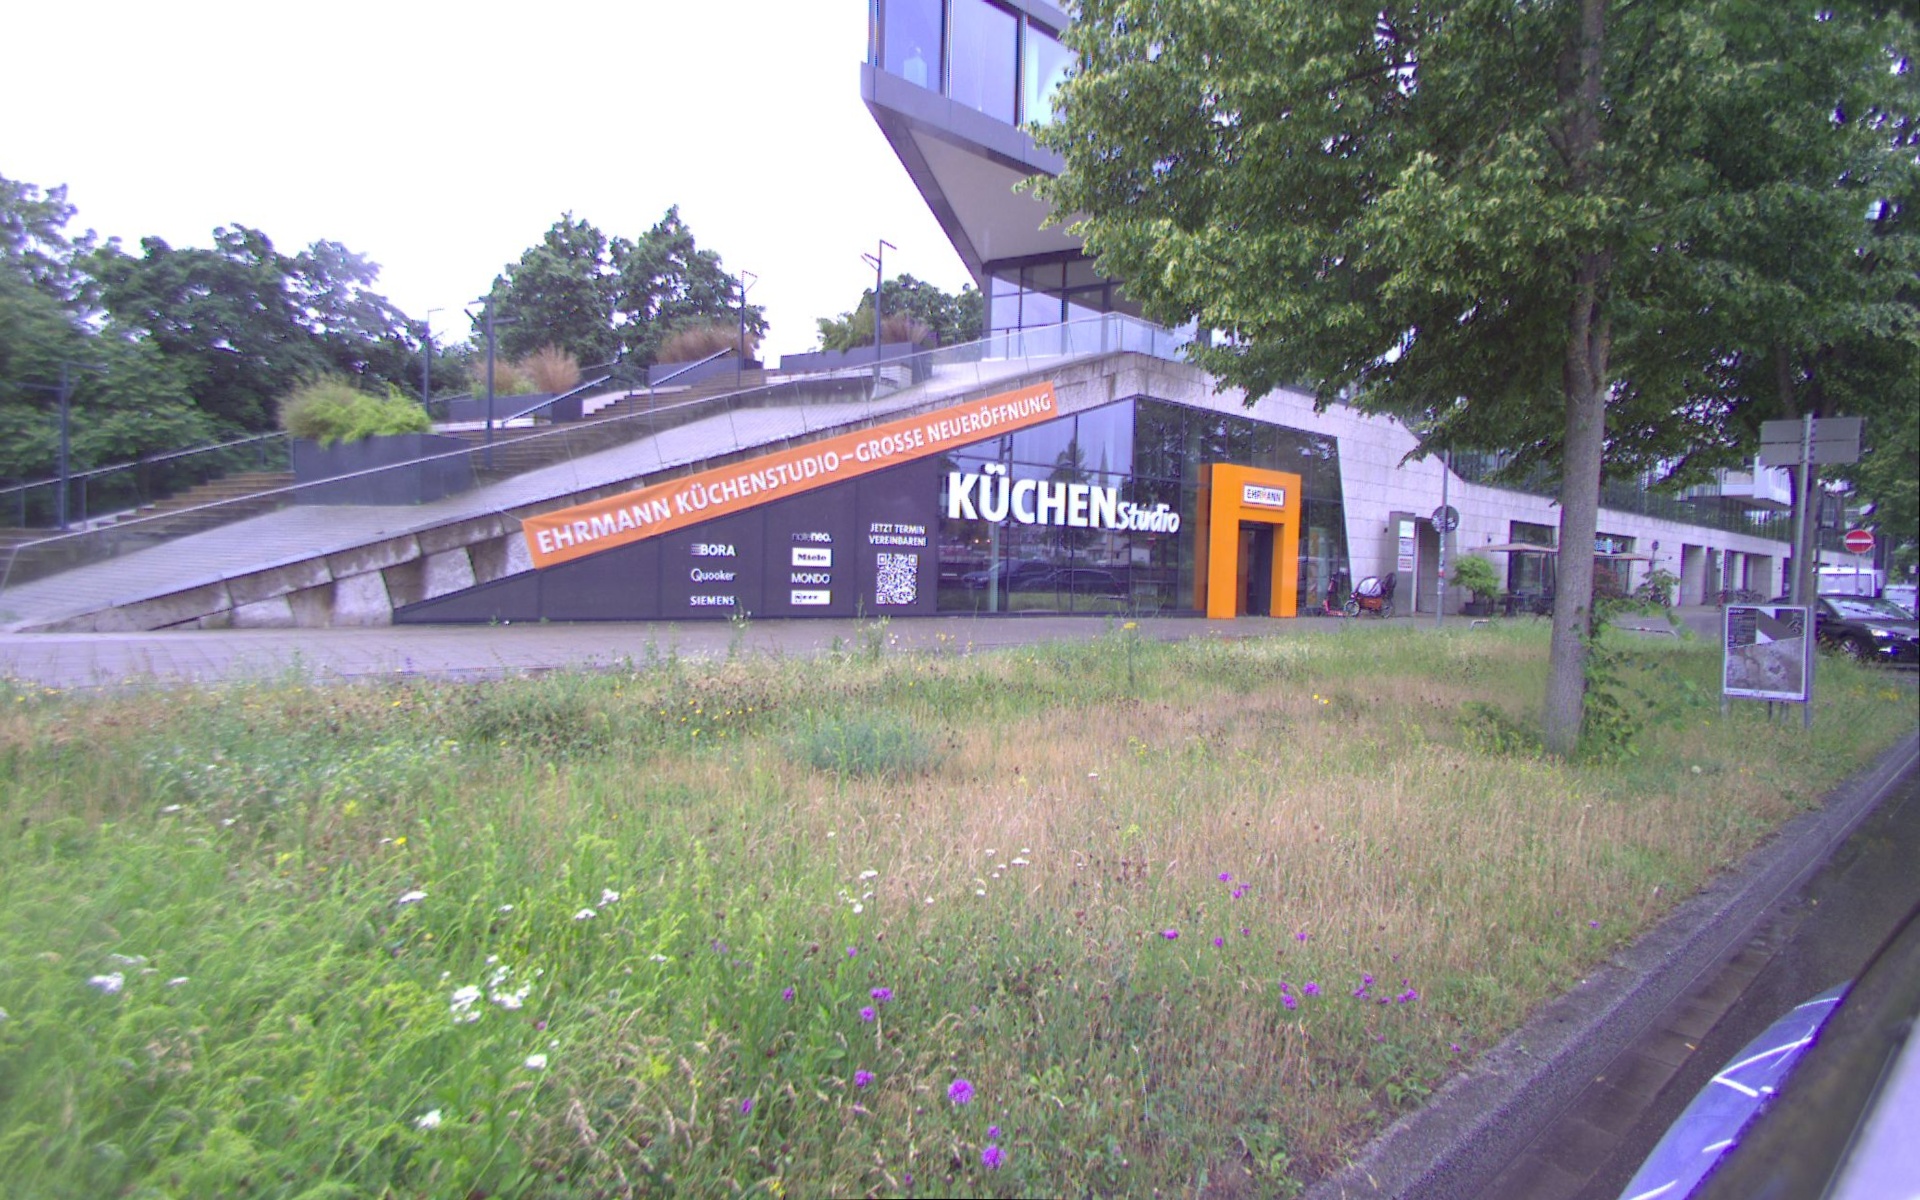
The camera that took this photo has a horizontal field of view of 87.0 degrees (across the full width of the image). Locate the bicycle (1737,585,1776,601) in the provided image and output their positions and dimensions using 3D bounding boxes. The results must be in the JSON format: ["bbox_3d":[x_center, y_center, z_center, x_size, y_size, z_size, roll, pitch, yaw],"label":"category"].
[{"bbox_3d":[54.521,-0.488,69.256,0.389,0.957,2.025,-1,4,-44],"label":"bicycle"}]

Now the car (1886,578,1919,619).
[{"bbox_3d":[43.098,-0.088,45.485,4.766,1.781,1.744,-1,2,-42],"label":"car"}]

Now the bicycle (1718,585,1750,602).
[{"bbox_3d":[49.692,-0.420,64.965,0.339,0.957,1.665,1,3,-22],"label":"bicycle"}]

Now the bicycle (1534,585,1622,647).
[{"bbox_3d":[14.299,0.354,23.464,0.521,1.363,1.852,2,0,-15],"label":"bicycle"}]

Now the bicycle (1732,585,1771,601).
[{"bbox_3d":[52.835,-0.456,67.571,0.389,0.957,2.025,-1,4,-44],"label":"bicycle"}]

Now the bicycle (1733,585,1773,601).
[{"bbox_3d":[53.254,-0.462,67.978,0.389,0.957,2.025,-1,4,-44],"label":"bicycle"}]

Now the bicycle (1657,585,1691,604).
[{"bbox_3d":[36.967,-0.272,52.415,0.388,0.958,2.028,-1,1,4],"label":"bicycle"}]

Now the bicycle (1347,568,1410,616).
[{"bbox_3d":[13.011,-0.252,31.430,2.382,1.419,0.734,0,3,-41],"label":"bicycle"}]

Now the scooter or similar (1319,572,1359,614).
[{"bbox_3d":[11.383,-0.205,30.377,1.214,1.243,0.343,-1,0,-22],"label":"scooter or similar"}]

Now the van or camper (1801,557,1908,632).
[{"bbox_3d":[29.765,-0.240,33.608,5.367,2.320,2.029,-1,2,-42],"label":"van or camper"}]

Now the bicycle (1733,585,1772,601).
[{"bbox_3d":[53.601,-0.485,68.438,0.389,0.957,2.025,-1,4,-44],"label":"bicycle"}]

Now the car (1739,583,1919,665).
[{"bbox_3d":[18.419,0.414,20.749,1.801,1.437,4.340,1,2,6],"label":"car"}]

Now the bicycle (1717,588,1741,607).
[{"bbox_3d":[39.795,-0.139,52.337,1.823,0.957,0.403,-1,2,-34],"label":"bicycle"}]

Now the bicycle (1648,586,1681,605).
[{"bbox_3d":[36.355,-0.264,52.243,0.388,0.958,2.028,-1,1,4],"label":"bicycle"}]

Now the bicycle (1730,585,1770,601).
[{"bbox_3d":[52.345,-0.449,67.085,0.389,0.957,2.025,-1,4,-44],"label":"bicycle"}]
